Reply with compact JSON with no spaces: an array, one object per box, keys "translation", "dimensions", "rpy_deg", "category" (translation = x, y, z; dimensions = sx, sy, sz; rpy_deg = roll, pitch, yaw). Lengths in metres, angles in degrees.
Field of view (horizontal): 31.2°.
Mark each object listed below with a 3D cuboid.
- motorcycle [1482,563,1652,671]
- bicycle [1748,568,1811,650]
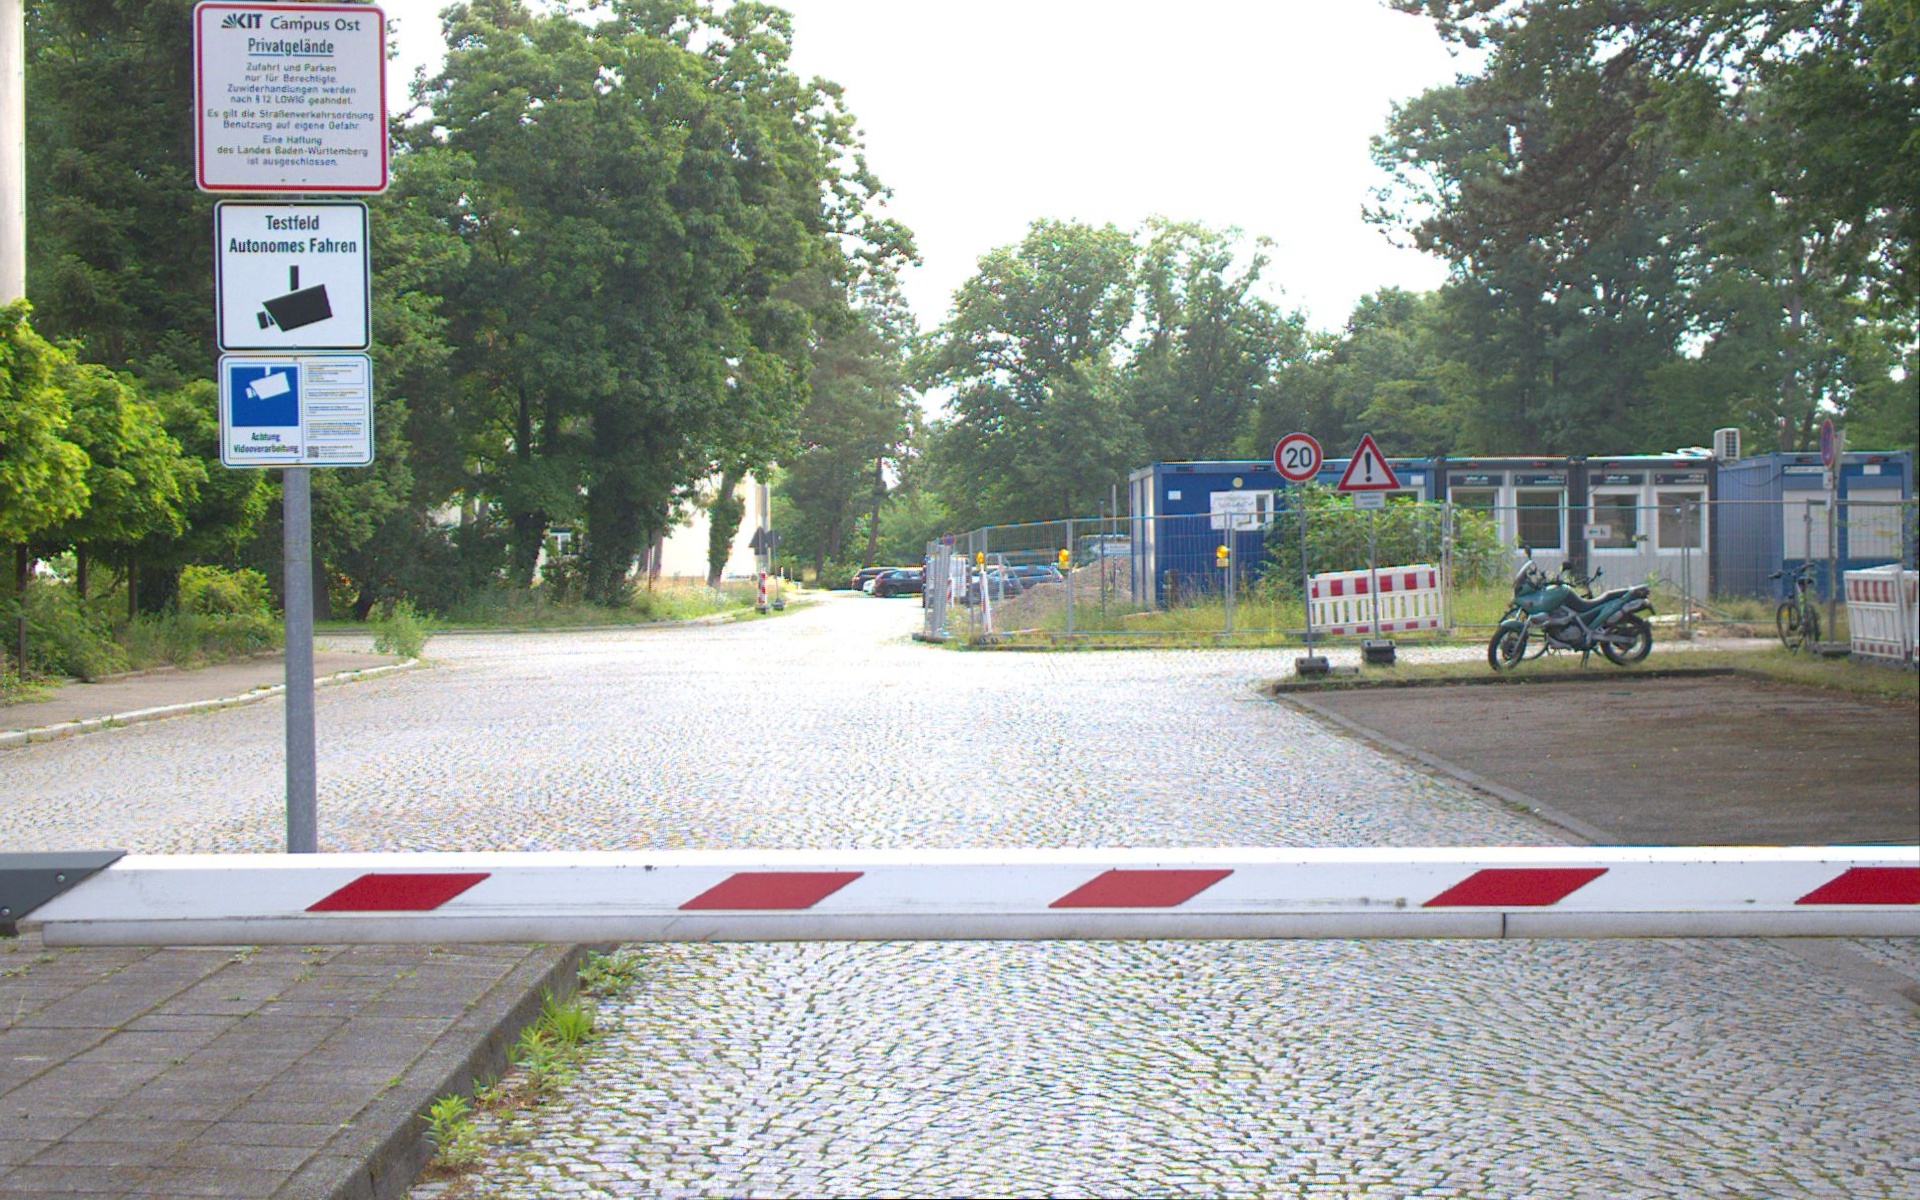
[{"translation":[7.371,0.204,41.769],"dimensions":[1.956,1.191,0.461],"rpy_deg":[-2,5,-1],"category":"motorcycle"},{"translation":[10.319,0.122,43.322],"dimensions":[0.332,1.004,1.726],"rpy_deg":[-1,-1,-1],"category":"bicycle"}]
